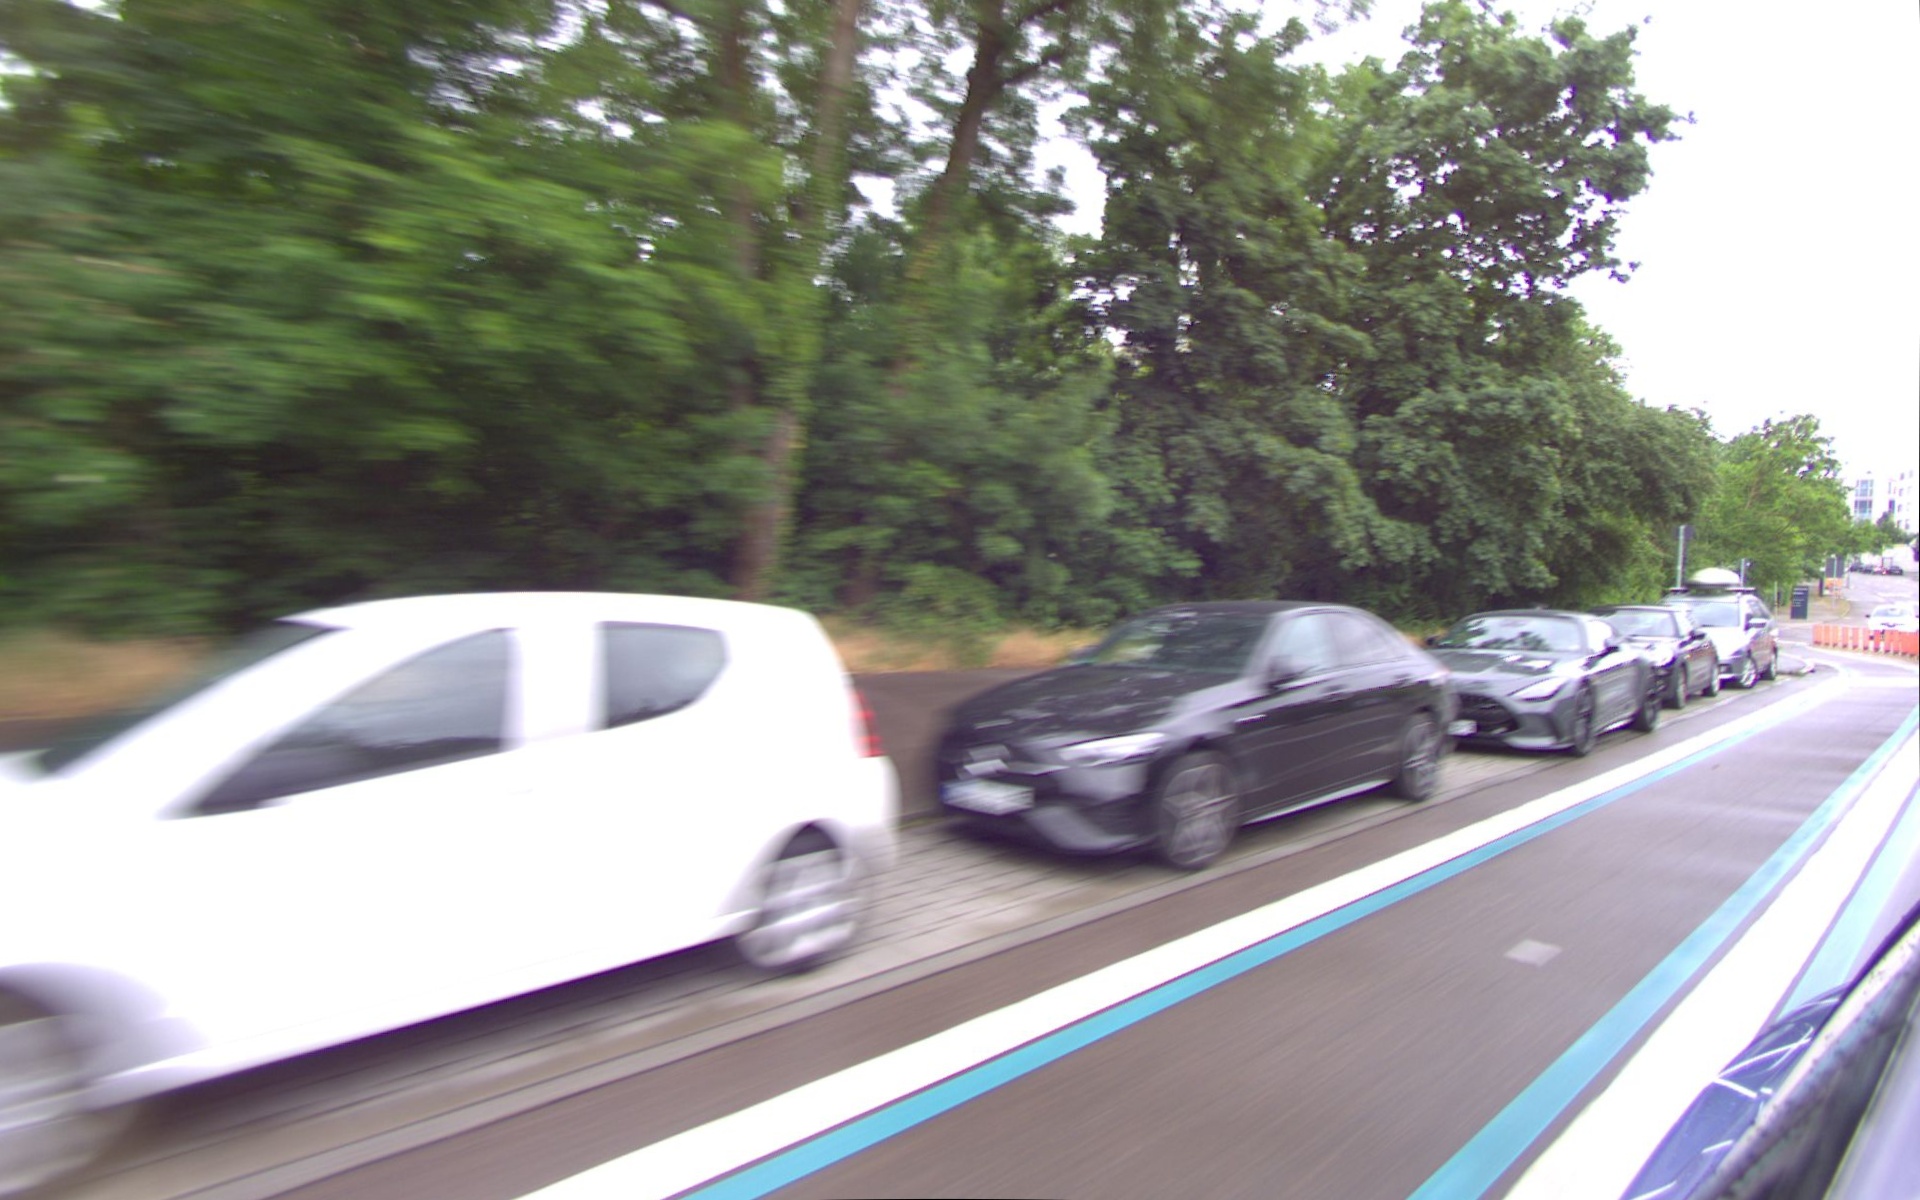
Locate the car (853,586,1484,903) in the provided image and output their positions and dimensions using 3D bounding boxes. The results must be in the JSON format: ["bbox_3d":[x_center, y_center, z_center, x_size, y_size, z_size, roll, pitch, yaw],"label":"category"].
[{"bbox_3d":[1.704,0.668,6.975,4.668,1.473,1.859,0,0,-42],"label":"car"}]

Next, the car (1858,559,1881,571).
[{"bbox_3d":[156.097,-6.063,173.762,1.907,2.038,4.345,1,2,27],"label":"car"}]

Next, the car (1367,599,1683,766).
[{"bbox_3d":[6.240,0.713,10.938,4.313,1.417,1.854,0,0,-44],"label":"car"}]

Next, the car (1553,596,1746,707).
[{"bbox_3d":[10.328,0.674,15.065,3.643,1.431,1.697,0,0,-45],"label":"car"}]

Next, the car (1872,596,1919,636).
[{"bbox_3d":[42.237,0.699,45.275,3.934,1.683,1.924,0,1,-45],"label":"car"}]

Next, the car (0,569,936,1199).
[{"bbox_3d":[-1.946,0.663,3.630,3.614,1.479,1.561,0,0,-43],"label":"car"}]

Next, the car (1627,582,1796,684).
[{"bbox_3d":[13.699,0.528,18.359,4.182,1.635,1.823,0,0,-45],"label":"car"}]
